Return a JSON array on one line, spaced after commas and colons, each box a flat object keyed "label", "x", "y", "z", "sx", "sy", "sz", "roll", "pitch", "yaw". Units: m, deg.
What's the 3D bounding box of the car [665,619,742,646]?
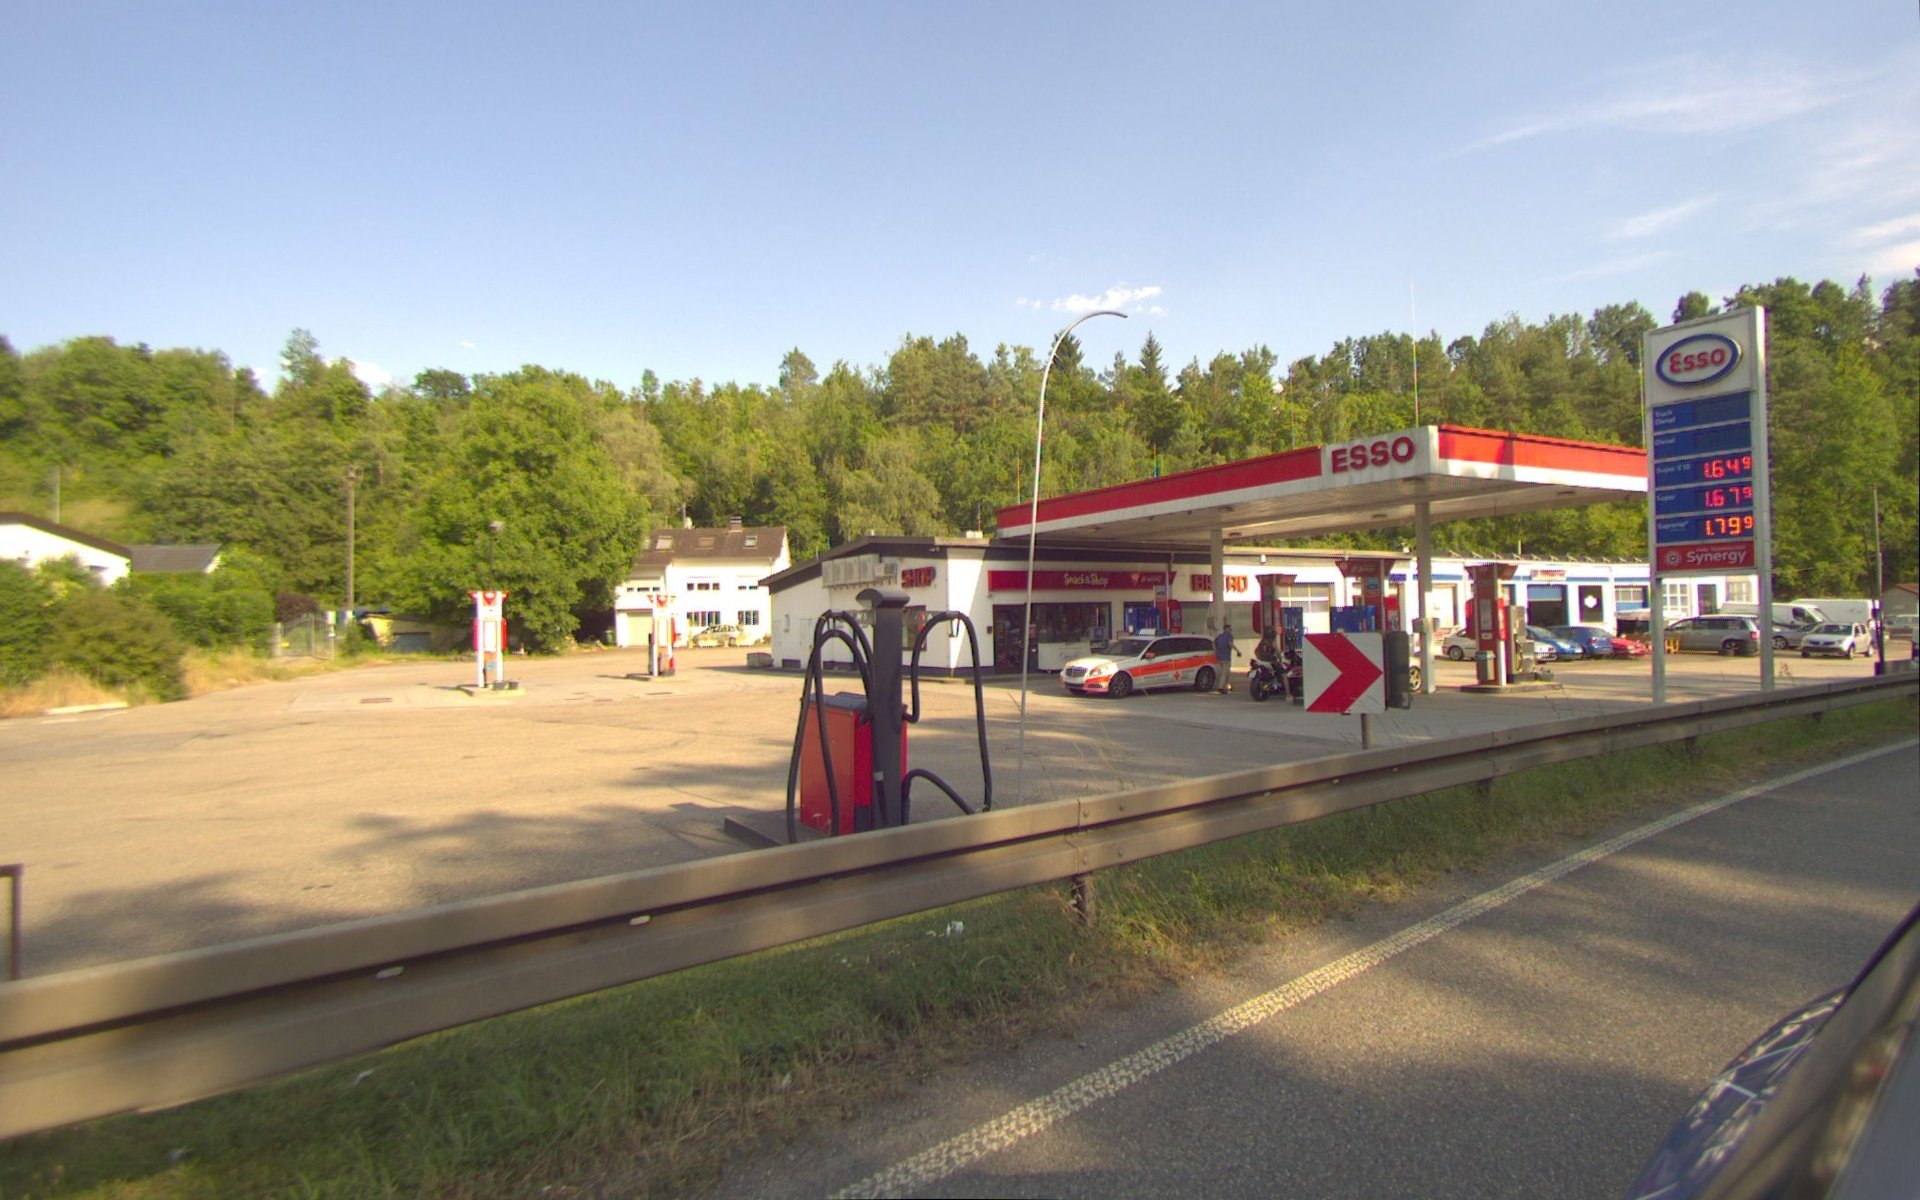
[{"label": "car", "x": -18.629, "y": 2.366, "z": 73.703, "sx": 5.064, "sy": 1.860, "sz": 2.703, "roll": -1, "pitch": -1, "yaw": -4}]

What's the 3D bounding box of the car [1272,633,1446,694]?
[{"label": "car", "x": 10.193, "y": 1.554, "z": 25.809, "sx": 4.302, "sy": 1.336, "sz": 1.850, "roll": 0, "pitch": -1, "yaw": -30}]

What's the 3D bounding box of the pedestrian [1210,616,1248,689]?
[{"label": "pedestrian", "x": 6.770, "y": 1.314, "z": 25.501, "sx": 0.606, "sy": 1.800, "sz": 0.706, "roll": 0, "pitch": -2, "yaw": -13}]

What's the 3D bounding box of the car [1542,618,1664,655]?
[{"label": "car", "x": 27.869, "y": 1.537, "z": 44.007, "sx": 1.857, "sy": 1.365, "sz": 4.085, "roll": 0, "pitch": 1, "yaw": -30}]

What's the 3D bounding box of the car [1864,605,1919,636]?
[{"label": "car", "x": 53.966, "y": 1.171, "z": 56.805, "sx": 4.349, "sy": 1.691, "sz": 1.930, "roll": 2, "pitch": 0, "yaw": 20}]

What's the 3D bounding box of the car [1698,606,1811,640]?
[{"label": "car", "x": 41.314, "y": 1.180, "z": 52.724, "sx": 1.857, "sy": 1.631, "sz": 4.258, "roll": 0, "pitch": 0, "yaw": -30}]

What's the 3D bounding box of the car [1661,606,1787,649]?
[{"label": "car", "x": 35.270, "y": 1.208, "z": 46.845, "sx": 1.855, "sy": 1.750, "sz": 4.264, "roll": 0, "pitch": 2, "yaw": -33}]

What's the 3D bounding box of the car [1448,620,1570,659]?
[{"label": "car", "x": 21.980, "y": 1.542, "z": 40.639, "sx": 1.743, "sy": 1.372, "sz": 3.970, "roll": 0, "pitch": 1, "yaw": -34}]

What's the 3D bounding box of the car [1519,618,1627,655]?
[{"label": "car", "x": 26.011, "y": 1.517, "z": 43.057, "sx": 1.699, "sy": 1.464, "sz": 3.558, "roll": 0, "pitch": -1, "yaw": -30}]

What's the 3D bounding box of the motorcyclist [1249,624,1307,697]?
[{"label": "motorcyclist", "x": 7.347, "y": 1.385, "z": 23.410, "sx": 0.909, "sy": 1.625, "sz": 0.861, "roll": 0, "pitch": -2, "yaw": -31}]

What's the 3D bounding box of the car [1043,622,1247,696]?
[{"label": "car", "x": 4.830, "y": 1.445, "z": 26.161, "sx": 5.078, "sy": 1.649, "sz": 2.100, "roll": 0, "pitch": -1, "yaw": -31}]

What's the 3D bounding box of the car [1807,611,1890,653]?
[{"label": "car", "x": 38.709, "y": 1.359, "z": 44.088, "sx": 3.913, "sy": 1.616, "sz": 1.796, "roll": 0, "pitch": 1, "yaw": -35}]

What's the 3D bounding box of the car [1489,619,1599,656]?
[{"label": "car", "x": 24.136, "y": 1.522, "z": 41.937, "sx": 1.657, "sy": 1.424, "sz": 3.564, "roll": 0, "pitch": -1, "yaw": -30}]

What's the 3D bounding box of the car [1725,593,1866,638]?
[{"label": "car", "x": 45.341, "y": 0.777, "z": 55.097, "sx": 2.249, "sy": 2.302, "sz": 5.497, "roll": 0, "pitch": 1, "yaw": -30}]

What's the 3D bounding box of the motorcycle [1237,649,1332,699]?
[{"label": "motorcycle", "x": 7.555, "y": 1.695, "z": 23.518, "sx": 2.294, "sy": 1.025, "sz": 0.764, "roll": 0, "pitch": -1, "yaw": -31}]

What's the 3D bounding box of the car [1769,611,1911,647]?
[{"label": "car", "x": 41.747, "y": 1.334, "z": 48.120, "sx": 1.919, "sy": 1.451, "sz": 4.739, "roll": 0, "pitch": 2, "yaw": -32}]

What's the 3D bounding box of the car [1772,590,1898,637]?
[{"label": "car", "x": 48.816, "y": 0.702, "z": 56.556, "sx": 2.164, "sy": 2.480, "sz": 4.927, "roll": 0, "pitch": 1, "yaw": -32}]
